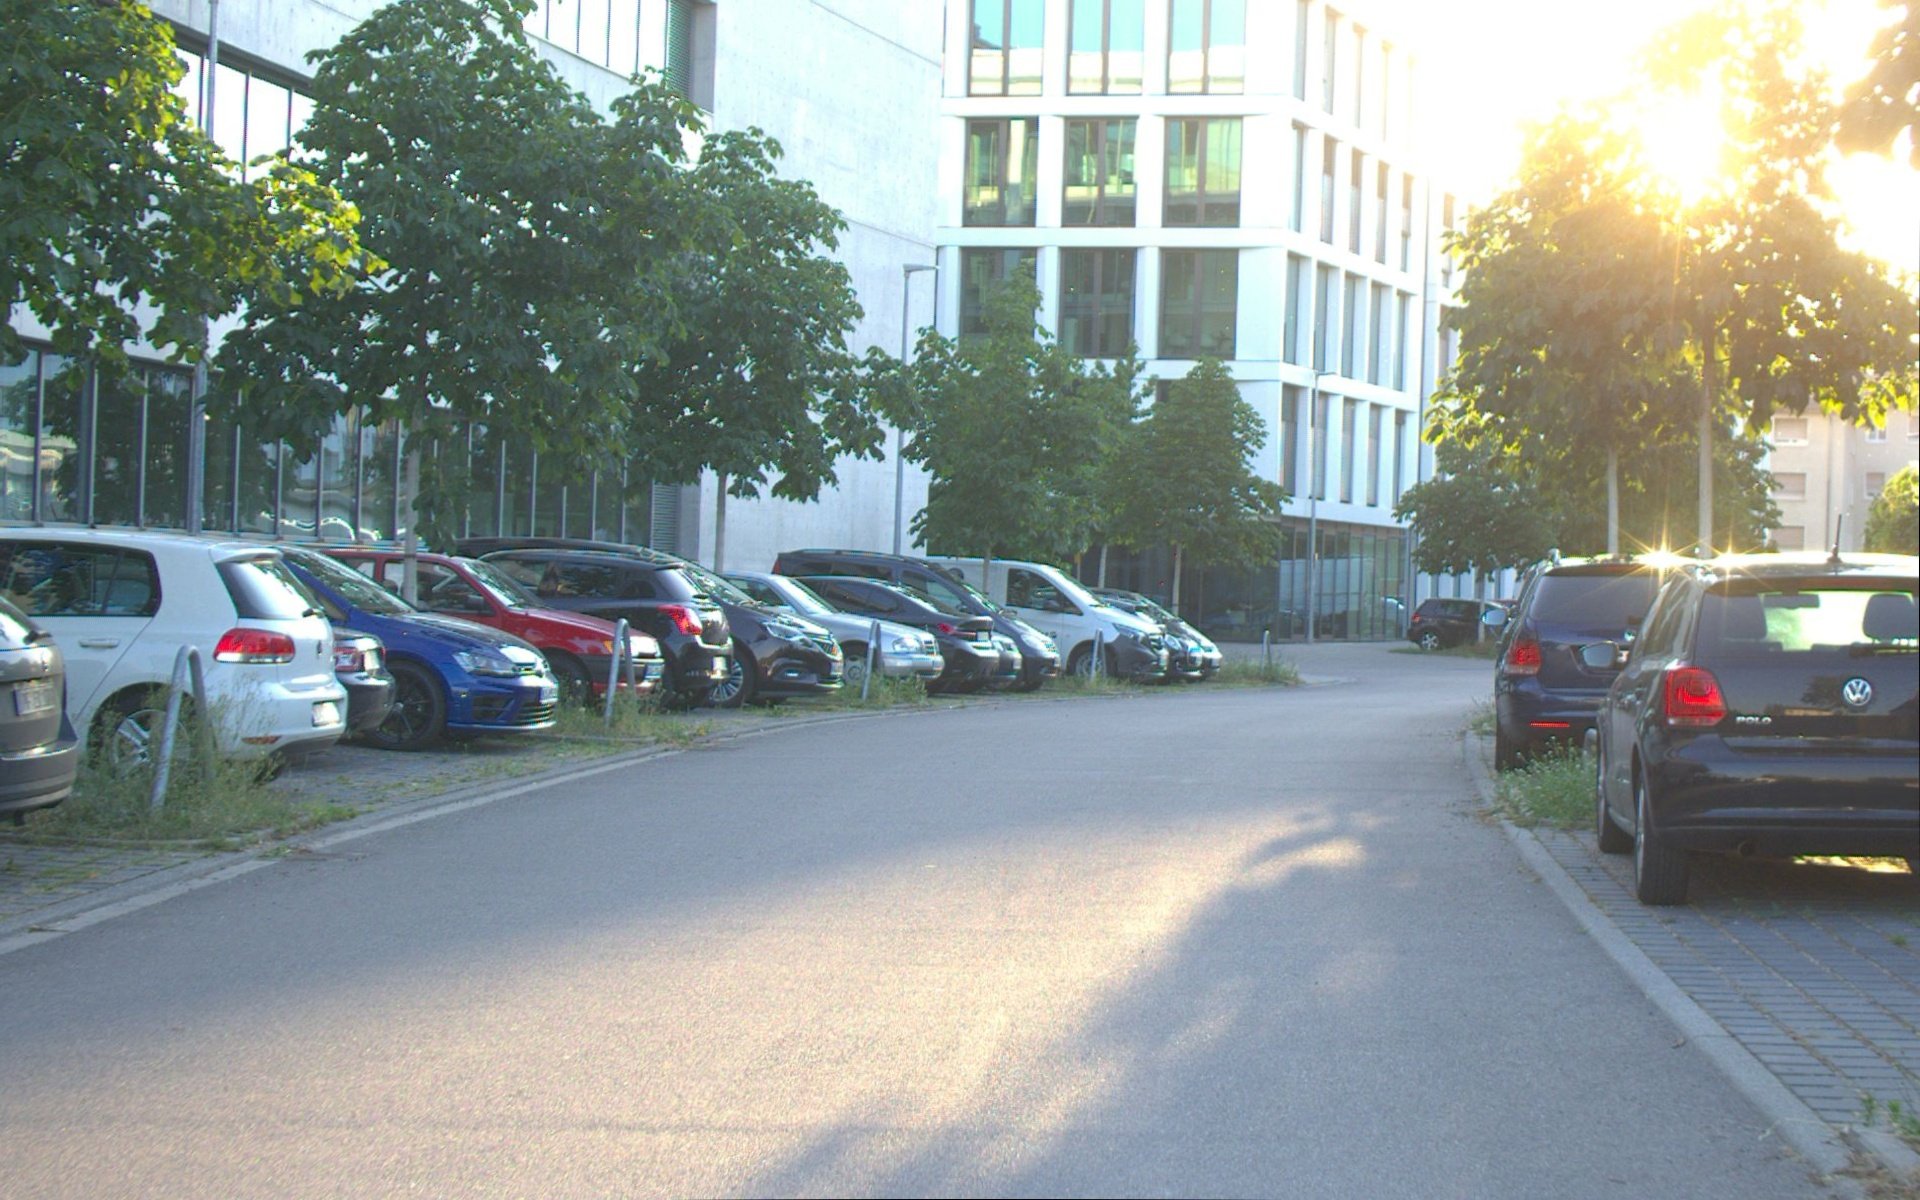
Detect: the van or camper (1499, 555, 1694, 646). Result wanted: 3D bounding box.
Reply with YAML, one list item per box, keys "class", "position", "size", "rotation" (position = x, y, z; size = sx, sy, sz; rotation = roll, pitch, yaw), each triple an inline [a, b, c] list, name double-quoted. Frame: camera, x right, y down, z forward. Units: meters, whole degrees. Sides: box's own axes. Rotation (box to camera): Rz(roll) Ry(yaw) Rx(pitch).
- class: "van or camper"
  position: [19.270, -0.008, 104.084]
  size: [5.459, 2.475, 1.773]
  rotation: [3, 1, 22]

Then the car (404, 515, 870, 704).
- class: "car"
  position: [-3.236, 0.090, 34.895]
  size: [4.310, 1.690, 1.895]
  rotation: [2, 0, 10]

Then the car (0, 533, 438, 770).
- class: "car"
  position: [-5.421, 0.294, 22.579]
  size: [3.633, 1.357, 1.686]
  rotation: [3, 1, 3]

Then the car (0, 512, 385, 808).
- class: "car"
  position: [-5.477, 0.258, 19.516]
  size: [3.988, 1.506, 1.759]
  rotation: [3, 1, 5]

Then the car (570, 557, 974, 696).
- class: "car"
  position: [-2.206, 0.293, 40.738]
  size: [4.436, 1.459, 1.762]
  rotation: [2, 1, 13]

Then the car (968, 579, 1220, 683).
- class: "car"
  position: [2.267, 0.512, 57.833]
  size: [3.889, 1.483, 1.650]
  rotation: [4, 1, 15]

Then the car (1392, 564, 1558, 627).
- class: "car"
  position: [13.902, -0.112, 92.832]
  size: [4.055, 1.474, 1.765]
  rotation: [3, 0, 22]

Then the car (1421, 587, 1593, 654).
- class: "car"
  position: [14.007, 0.511, 88.027]
  size: [4.054, 1.474, 1.766]
  rotation: [3, 2, 19]

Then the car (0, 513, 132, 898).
- class: "car"
  position: [-5.753, 0.319, 14.656]
  size: [3.998, 1.507, 1.585]
  rotation: [3, 2, 1]

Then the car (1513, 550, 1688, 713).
- class: "car"
  position: [6.362, 0.308, 33.923]
  size: [1.578, 1.504, 3.494]
  rotation: [1, 0, 12]

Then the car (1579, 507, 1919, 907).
- class: "car"
  position: [3.736, 0.402, 15.253]
  size: [1.741, 1.546, 3.639]
  rotation: [1, 1, 7]

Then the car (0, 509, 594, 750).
- class: "car"
  position: [-4.811, 0.189, 25.155]
  size: [3.871, 1.506, 1.759]
  rotation: [3, 1, 8]

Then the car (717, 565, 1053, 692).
- class: "car"
  position: [-0.994, 0.382, 46.313]
  size: [4.146, 1.399, 1.723]
  rotation: [4, 0, 13]

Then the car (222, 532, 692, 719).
- class: "car"
  position: [-4.377, 0.215, 30.212]
  size: [3.703, 1.453, 1.711]
  rotation: [2, 0, 8]

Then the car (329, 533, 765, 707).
- class: "car"
  position: [-3.850, 0.183, 32.319]
  size: [3.703, 1.453, 1.678]
  rotation: [2, 0, 10]

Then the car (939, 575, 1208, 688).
- class: "car"
  position: [1.836, 0.504, 55.287]
  size: [3.990, 1.517, 1.604]
  rotation: [4, 0, 13]

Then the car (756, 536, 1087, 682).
- class: "car"
  position: [-0.528, 0.130, 48.256]
  size: [4.249, 1.736, 1.723]
  rotation: [4, 0, 13]

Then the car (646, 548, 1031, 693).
- class: "car"
  position: [-1.510, 0.256, 43.054]
  size: [4.401, 1.494, 1.761]
  rotation: [4, 0, 17]

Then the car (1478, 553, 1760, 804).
- class: "car"
  position: [4.497, 0.464, 23.847]
  size: [1.711, 1.544, 4.546]
  rotation: [1, 1, 9]

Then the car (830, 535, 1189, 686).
- class: "car"
  position: [0.771, 0.162, 52.669]
  size: [5.079, 1.940, 1.887]
  rotation: [4, 0, 14]
